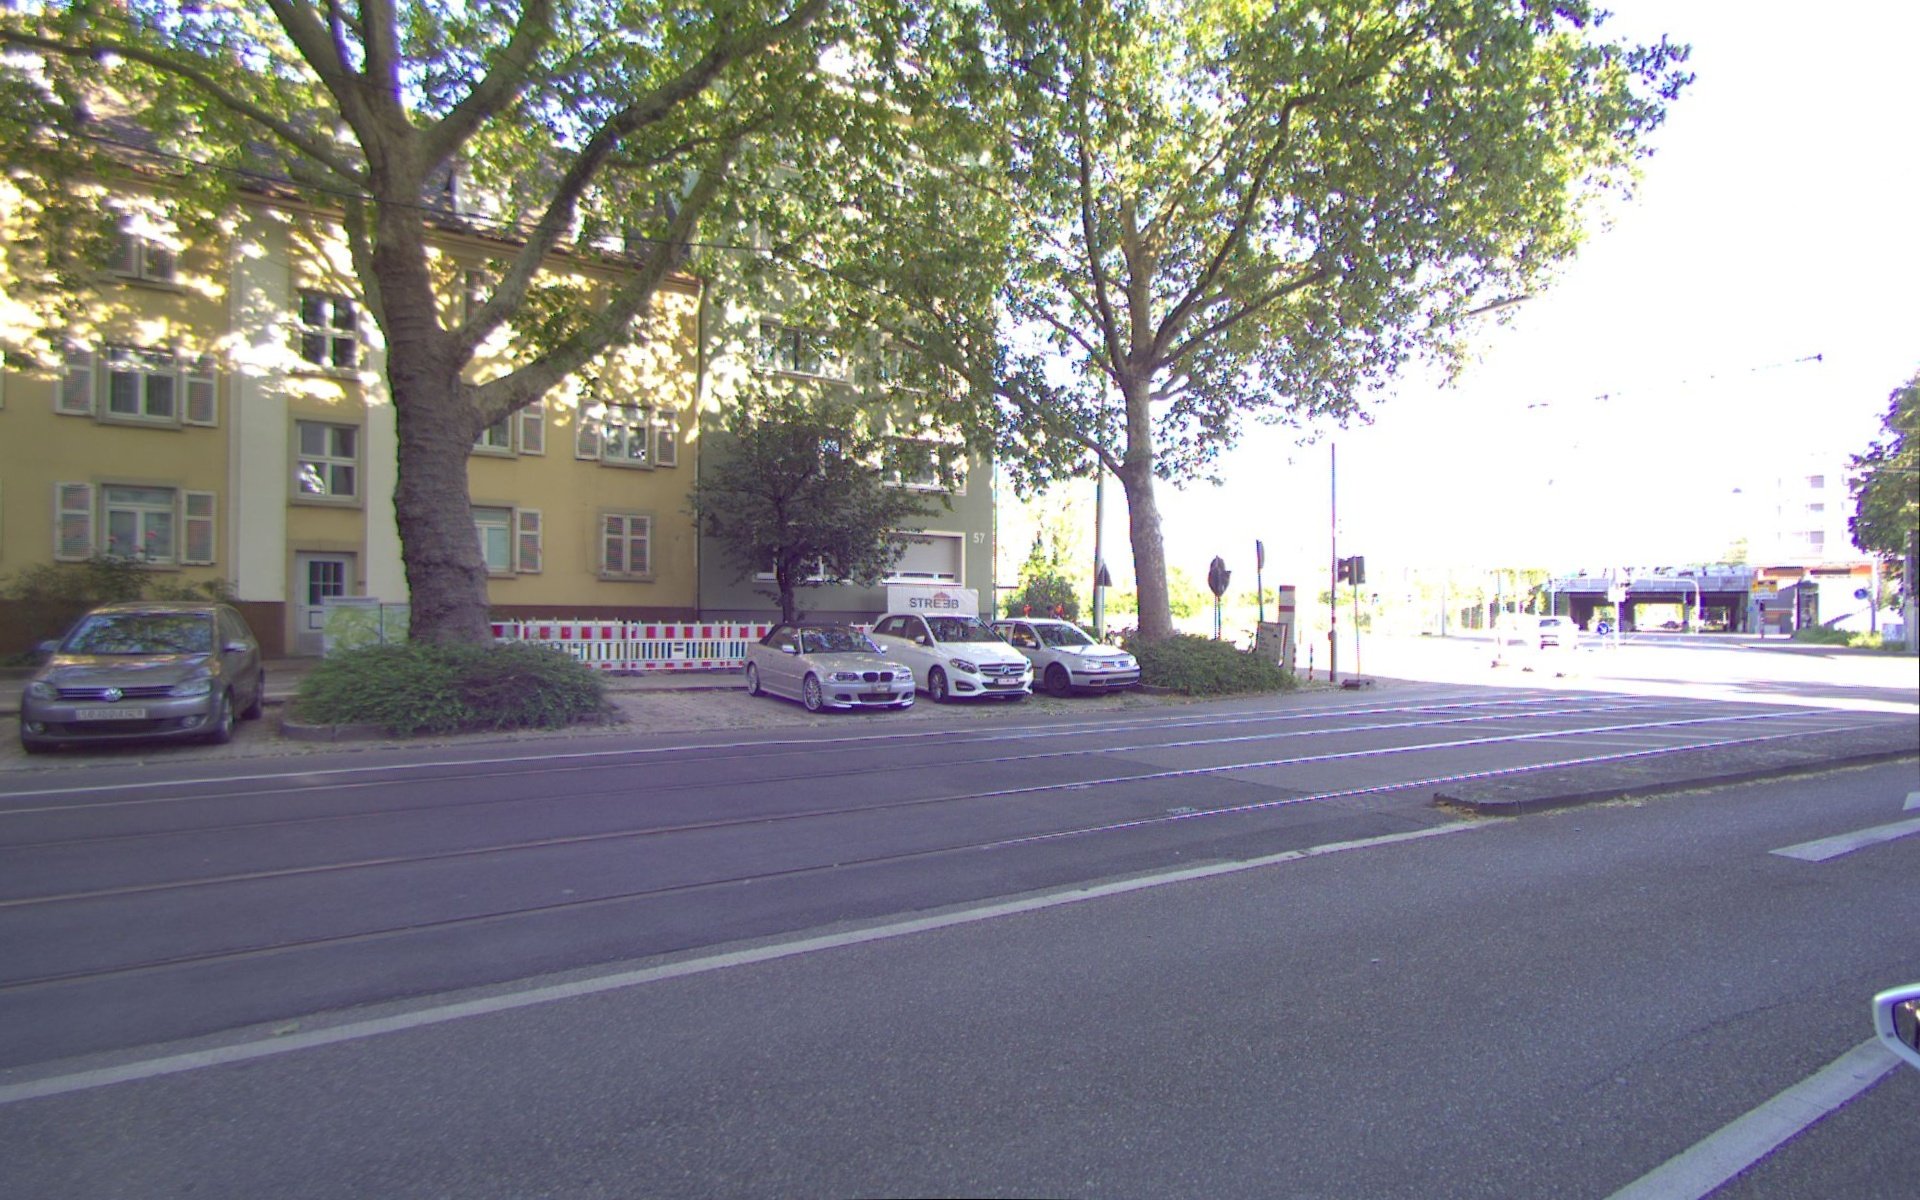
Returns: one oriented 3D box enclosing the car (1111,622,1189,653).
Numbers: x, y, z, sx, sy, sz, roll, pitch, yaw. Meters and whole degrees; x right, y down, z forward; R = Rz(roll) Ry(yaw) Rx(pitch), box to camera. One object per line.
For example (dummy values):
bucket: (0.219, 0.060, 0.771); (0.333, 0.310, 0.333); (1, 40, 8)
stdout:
car: (10.855, 2.135, 57.499); (3.933, 1.439, 1.887); (0, 5, 34)

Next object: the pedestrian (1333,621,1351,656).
pedestrian: (17.992, 1.821, 47.343); (0.591, 1.617, 0.683); (2, 0, 35)

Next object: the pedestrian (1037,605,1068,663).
pedestrian: (2.569, 0.931, 27.854); (0.592, 1.589, 0.741); (0, -1, 33)

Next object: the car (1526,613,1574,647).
car: (30.205, 1.522, 51.508); (1.964, 1.653, 4.623); (0, -1, 28)

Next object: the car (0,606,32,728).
car: (-11.982, 0.813, 11.077); (1.673, 1.466, 3.834); (2, 0, -29)

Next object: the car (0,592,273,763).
car: (-9.548, 0.770, 11.994); (1.822, 1.641, 4.051); (2, 0, -29)

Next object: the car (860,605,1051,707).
car: (-0.216, 0.967, 18.841); (1.822, 1.633, 4.051); (2, 0, -29)

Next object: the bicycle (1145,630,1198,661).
bicycle: (6.530, 1.396, 31.051); (0.355, 0.900, 1.759); (1, -1, -41)

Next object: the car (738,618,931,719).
car: (-2.242, 1.065, 16.965); (1.822, 1.387, 4.051); (2, 0, -29)

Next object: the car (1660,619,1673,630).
car: (143.253, 4.994, 203.707); (1.966, 2.040, 3.989); (2, 0, 33)

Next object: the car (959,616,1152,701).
car: (1.816, 1.106, 20.248); (1.688, 1.436, 3.959); (2, 0, -36)

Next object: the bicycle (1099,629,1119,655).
bicycle: (4.768, 1.338, 32.058); (0.351, 0.769, 1.781); (0, -1, 18)

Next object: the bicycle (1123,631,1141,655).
bicycle: (5.847, 1.445, 34.172); (0.351, 0.769, 1.781); (0, -1, 1)
